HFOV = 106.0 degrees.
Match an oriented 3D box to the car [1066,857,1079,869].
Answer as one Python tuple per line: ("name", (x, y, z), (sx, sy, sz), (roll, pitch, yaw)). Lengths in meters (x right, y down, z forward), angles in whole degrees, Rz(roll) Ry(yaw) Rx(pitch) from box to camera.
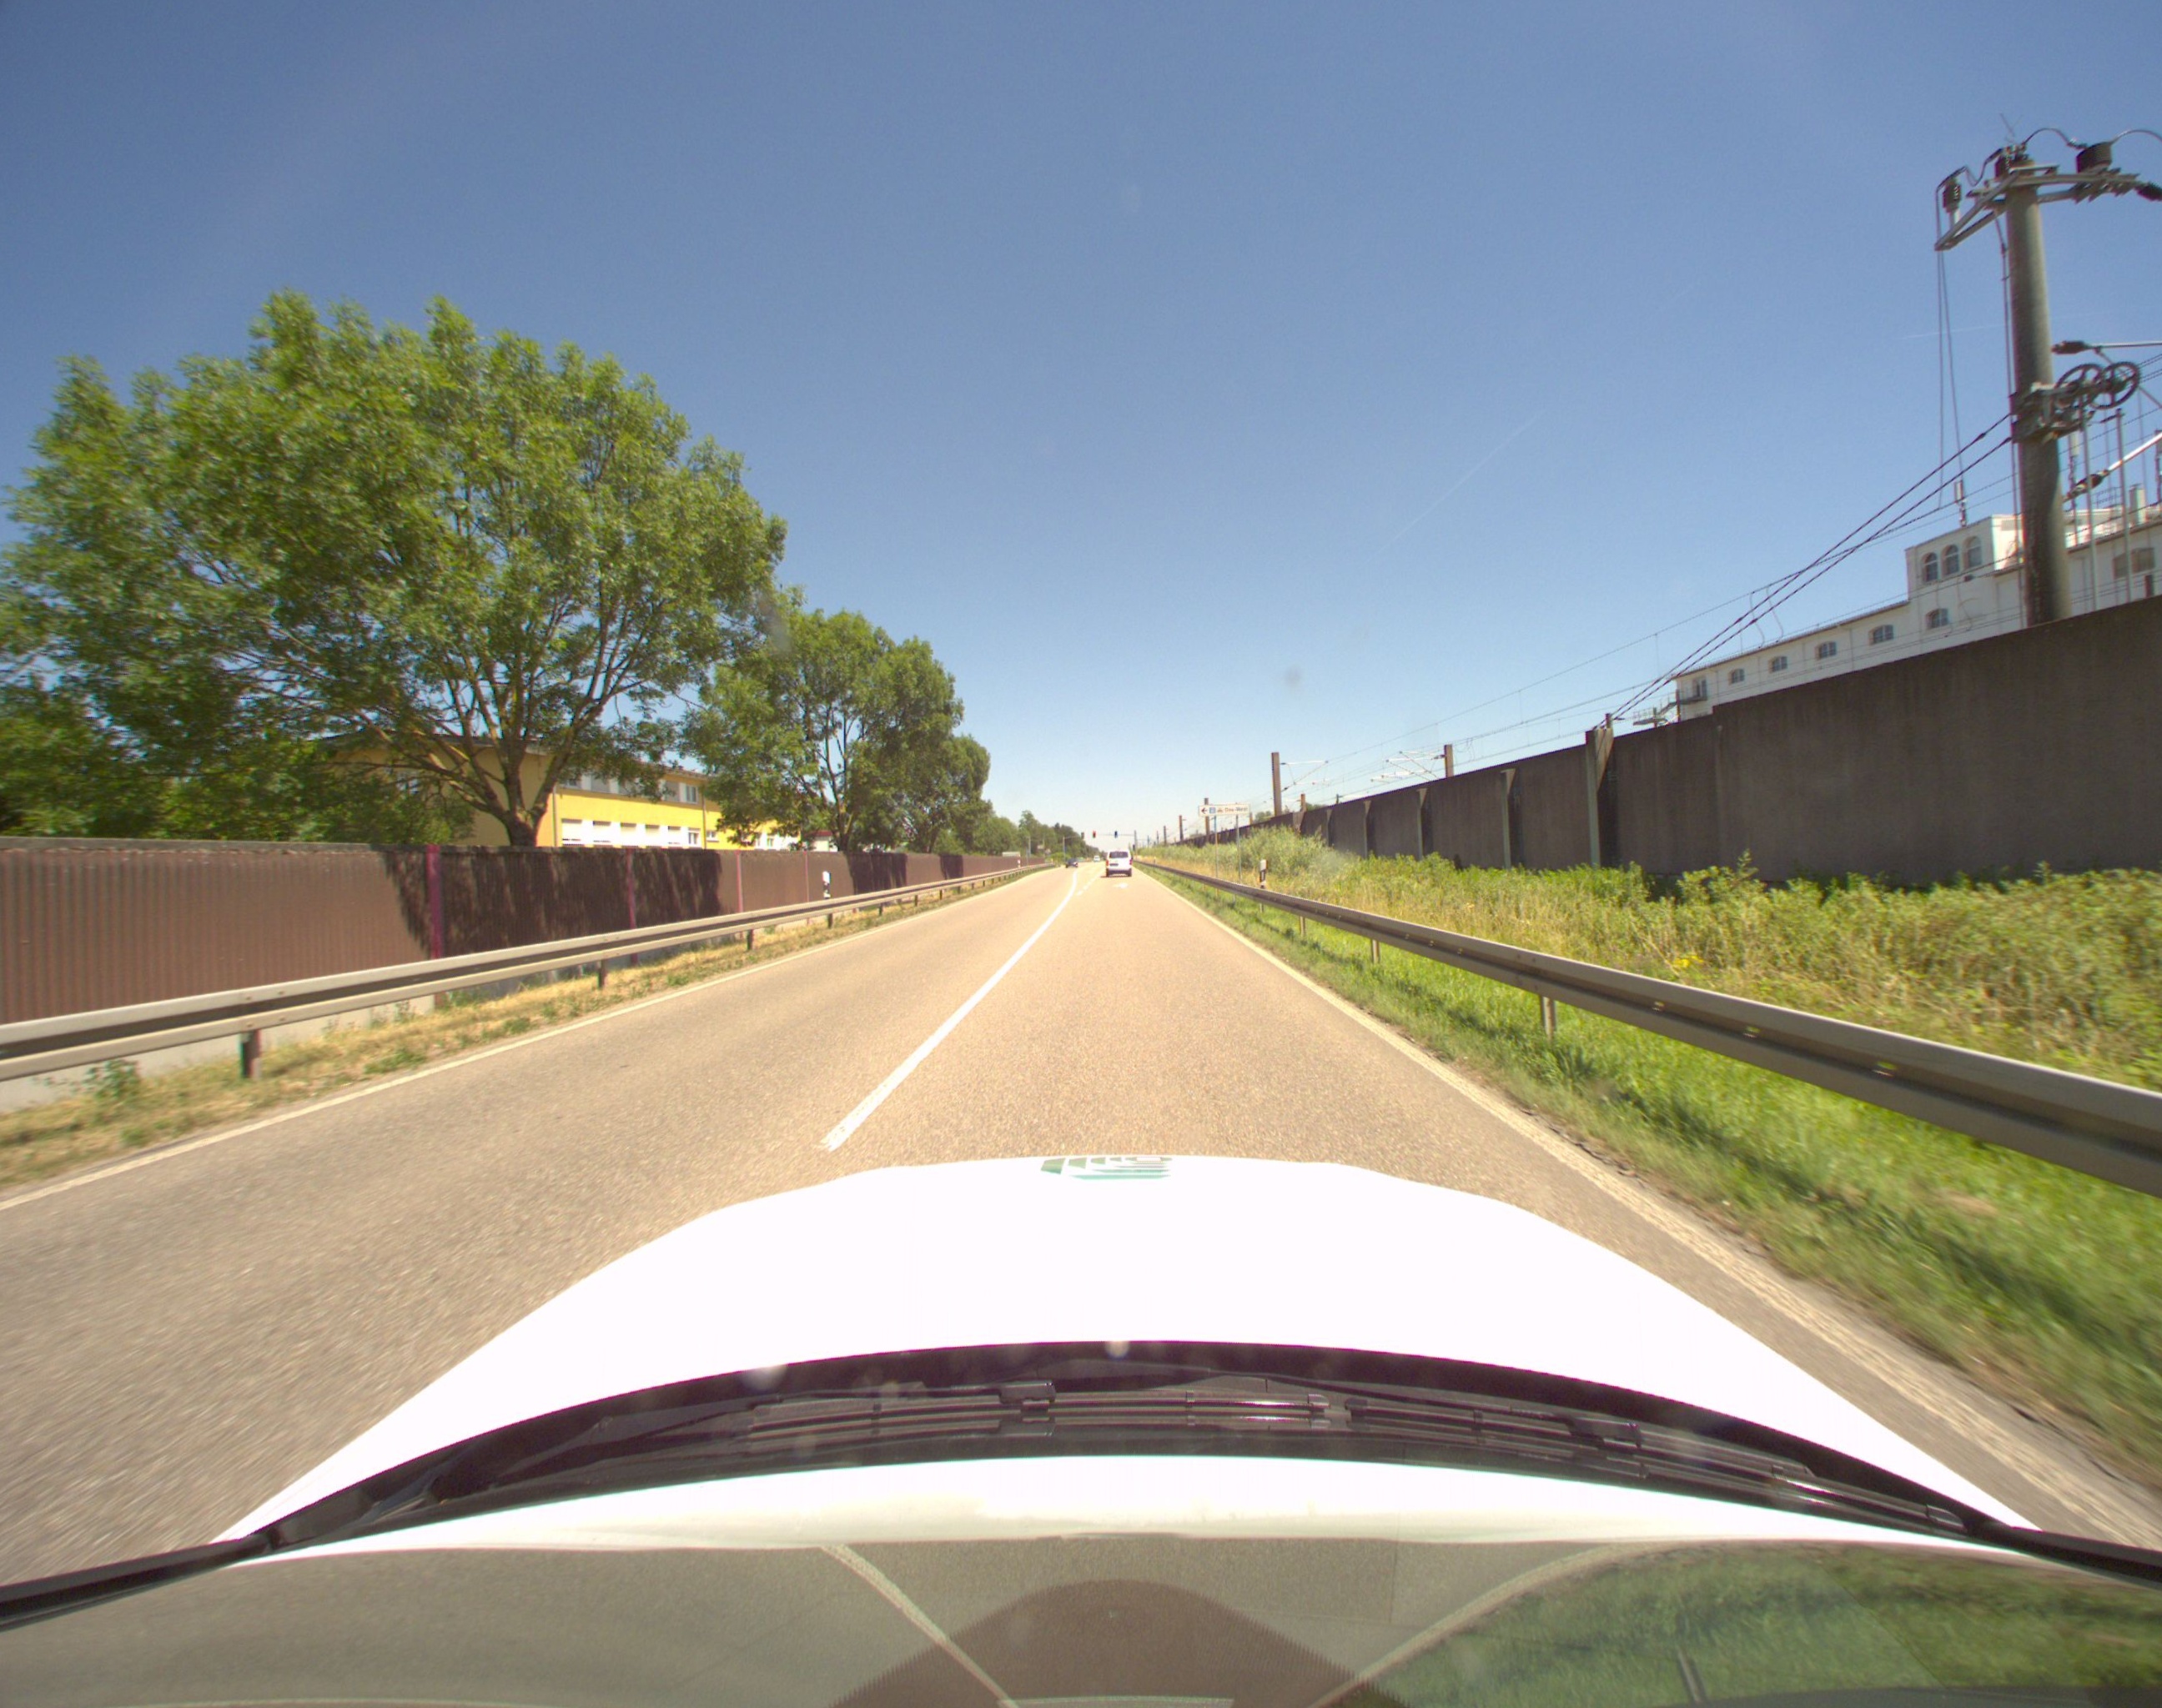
("car", (-1.214, 1.319, 121.015), (1.813, 1.596, 4.001), (-1, 0, 1))

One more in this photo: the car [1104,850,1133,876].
("car", (2.700, 0.631, 58.837), (1.985, 1.850, 4.003), (-1, 0, 2))
